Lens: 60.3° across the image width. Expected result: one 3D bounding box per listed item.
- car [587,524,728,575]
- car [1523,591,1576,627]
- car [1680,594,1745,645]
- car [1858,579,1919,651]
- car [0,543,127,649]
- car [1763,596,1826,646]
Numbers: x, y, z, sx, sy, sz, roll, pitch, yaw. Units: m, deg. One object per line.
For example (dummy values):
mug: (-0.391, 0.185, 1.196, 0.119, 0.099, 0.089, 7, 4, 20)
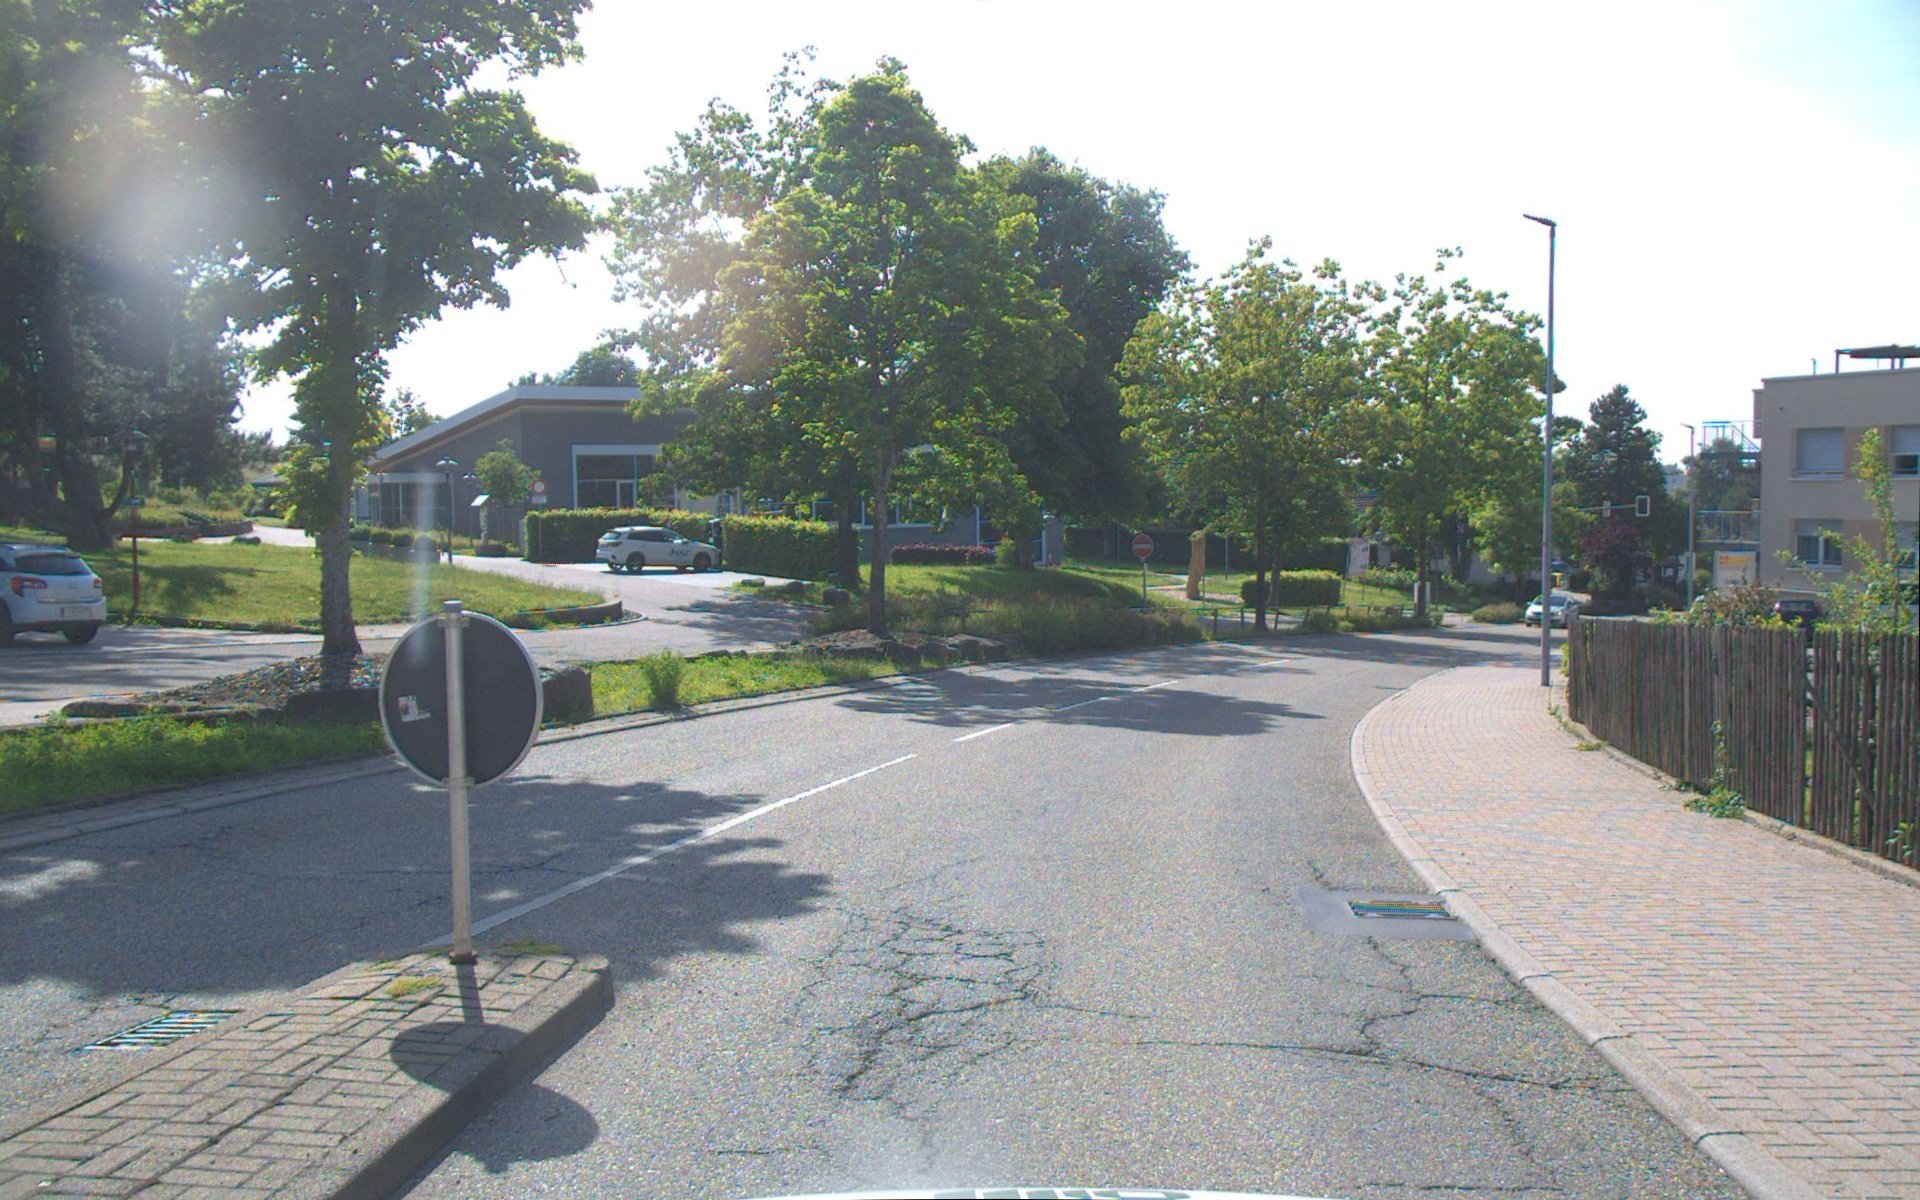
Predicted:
car: (-10.969, -1.868, 60.111, 4.678, 1.560, 1.976, -3, 8, -36)
car: (26.608, 0.382, 74.620, 1.696, 1.468, 4.060, 3, 2, 27)
car: (24.711, 0.600, 54.267, 1.675, 1.562, 4.001, 1, 1, 28)
car: (27.039, 0.404, 47.871, 1.769, 1.969, 4.727, 1, 1, 28)
car: (-16.062, -0.126, 27.525, 3.848, 1.637, 1.776, 2, 1, 21)
car: (26.307, 0.632, 52.085, 1.675, 1.452, 4.001, 1, 1, 28)
